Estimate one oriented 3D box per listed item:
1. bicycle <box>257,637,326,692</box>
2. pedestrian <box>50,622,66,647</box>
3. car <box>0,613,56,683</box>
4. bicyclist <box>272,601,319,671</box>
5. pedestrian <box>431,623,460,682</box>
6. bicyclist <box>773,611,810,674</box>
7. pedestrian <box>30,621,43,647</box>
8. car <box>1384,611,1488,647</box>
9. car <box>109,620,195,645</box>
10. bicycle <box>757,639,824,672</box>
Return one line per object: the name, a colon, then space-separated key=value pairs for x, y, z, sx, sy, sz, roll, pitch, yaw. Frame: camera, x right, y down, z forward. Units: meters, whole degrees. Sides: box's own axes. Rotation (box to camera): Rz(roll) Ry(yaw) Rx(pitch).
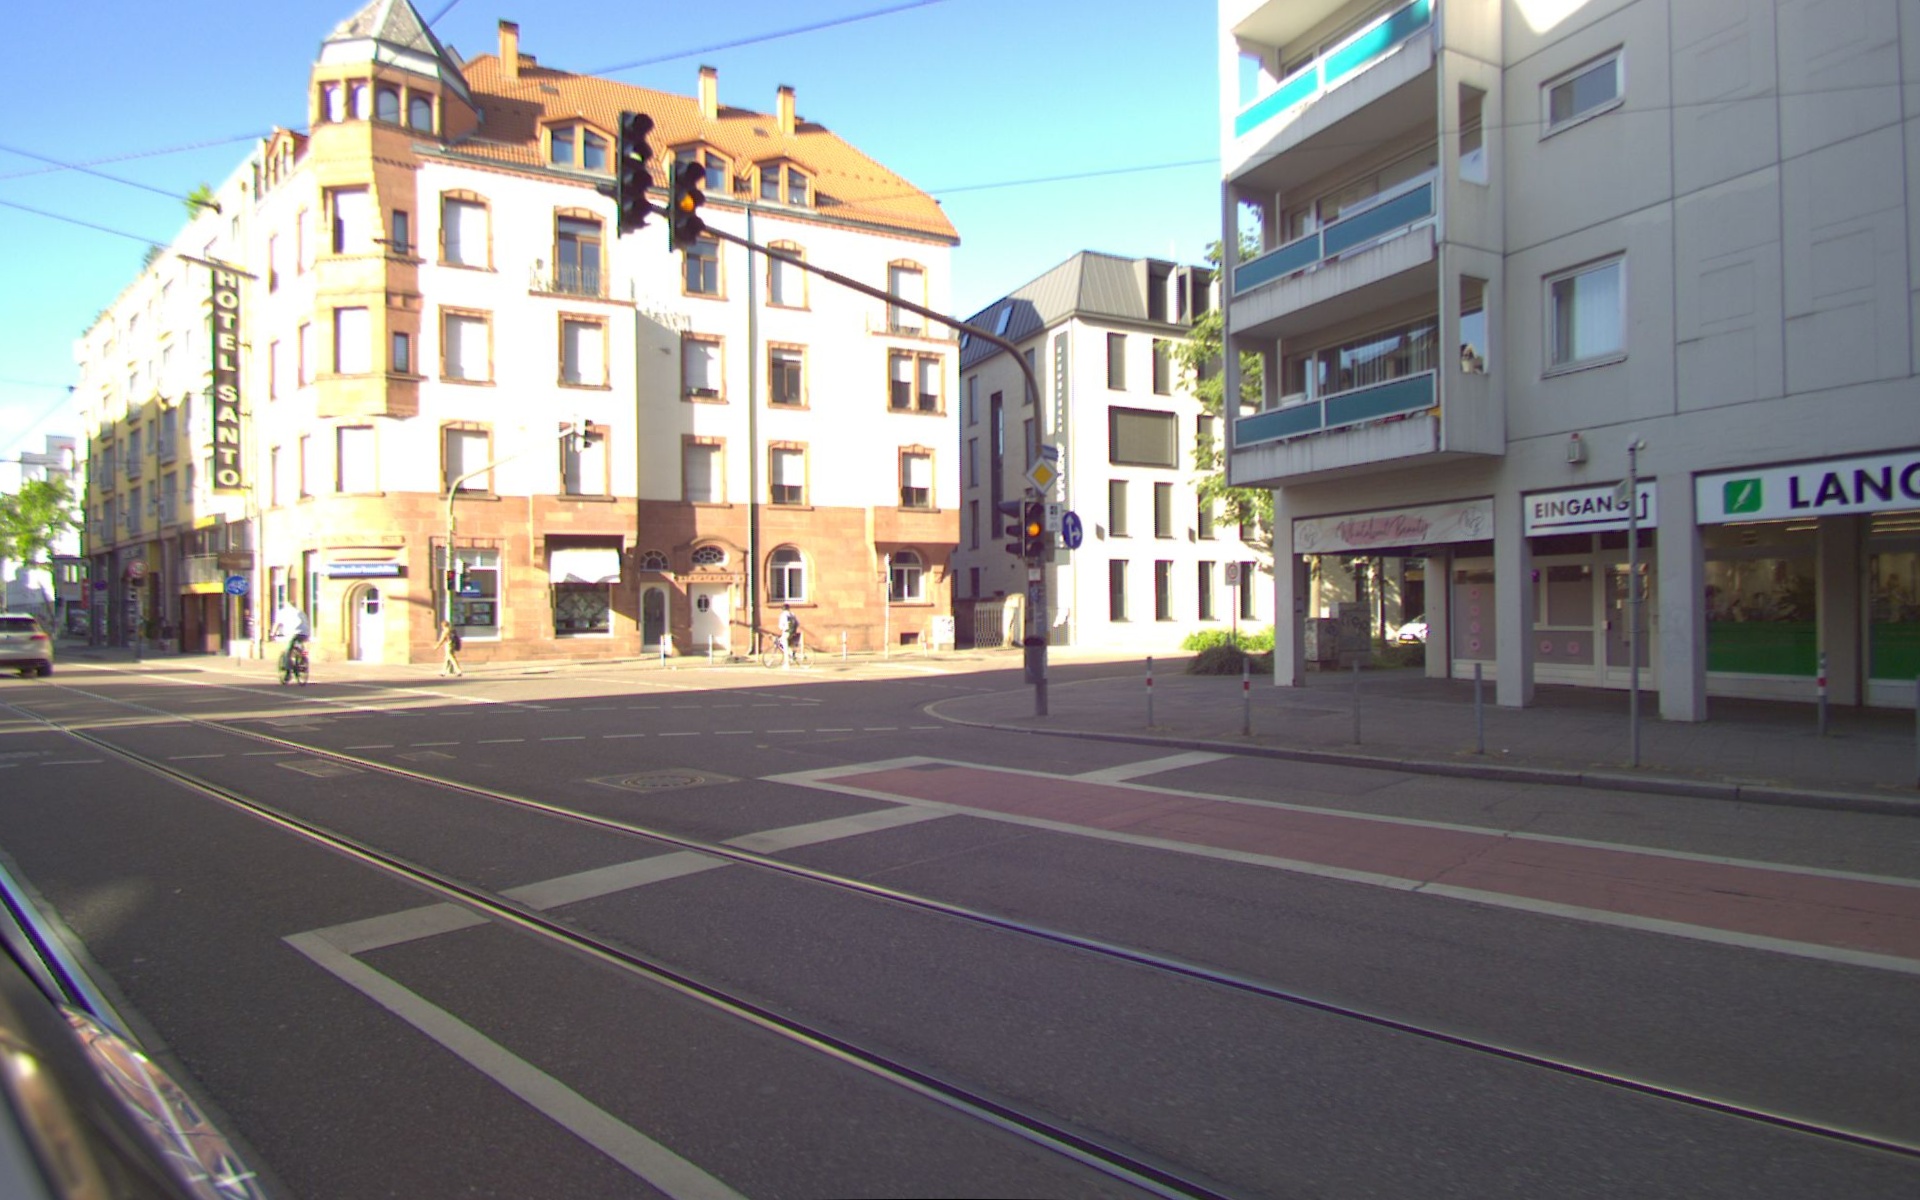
bicycle: x=-14.698 y=1.388 z=22.232 sx=2.082 sy=1.129 sz=0.685 roll=-1 pitch=-2 yaw=40
pedestrian: x=-66.531 y=2.536 z=74.620 sx=0.777 sy=1.777 sz=0.708 roll=-1 pitch=-1 yaw=32
car: x=-26.003 y=1.263 z=27.161 sx=4.559 sy=1.757 sz=1.973 roll=-1 pitch=-1 yaw=40
bicyclist: x=-14.569 y=0.784 z=22.199 sx=0.778 sy=1.494 sz=0.675 roll=-2 pitch=-2 yaw=40
pedestrian: x=-13.778 y=1.398 z=27.112 sx=0.515 sy=1.564 sz=0.537 roll=-1 pitch=-1 yaw=39
bicyclist: x=-4.861 y=1.221 z=29.203 sx=0.961 sy=1.777 sz=0.615 roll=-1 pitch=-1 yaw=1
pedestrian: x=-69.858 y=2.558 z=76.590 sx=0.708 sy=1.961 sz=0.631 roll=-2 pitch=-2 yaw=39
car: x=20.670 y=1.259 z=43.973 sx=3.930 sy=1.475 sz=2.006 roll=0 pitch=-1 yaw=-25
car: x=-53.596 y=2.146 z=67.157 sx=1.784 sy=1.560 sz=4.189 roll=1 pitch=0 yaw=41
bicycle: x=-4.869 y=1.591 z=29.216 sx=1.789 sy=0.916 sz=0.791 roll=-1 pitch=-1 yaw=2
